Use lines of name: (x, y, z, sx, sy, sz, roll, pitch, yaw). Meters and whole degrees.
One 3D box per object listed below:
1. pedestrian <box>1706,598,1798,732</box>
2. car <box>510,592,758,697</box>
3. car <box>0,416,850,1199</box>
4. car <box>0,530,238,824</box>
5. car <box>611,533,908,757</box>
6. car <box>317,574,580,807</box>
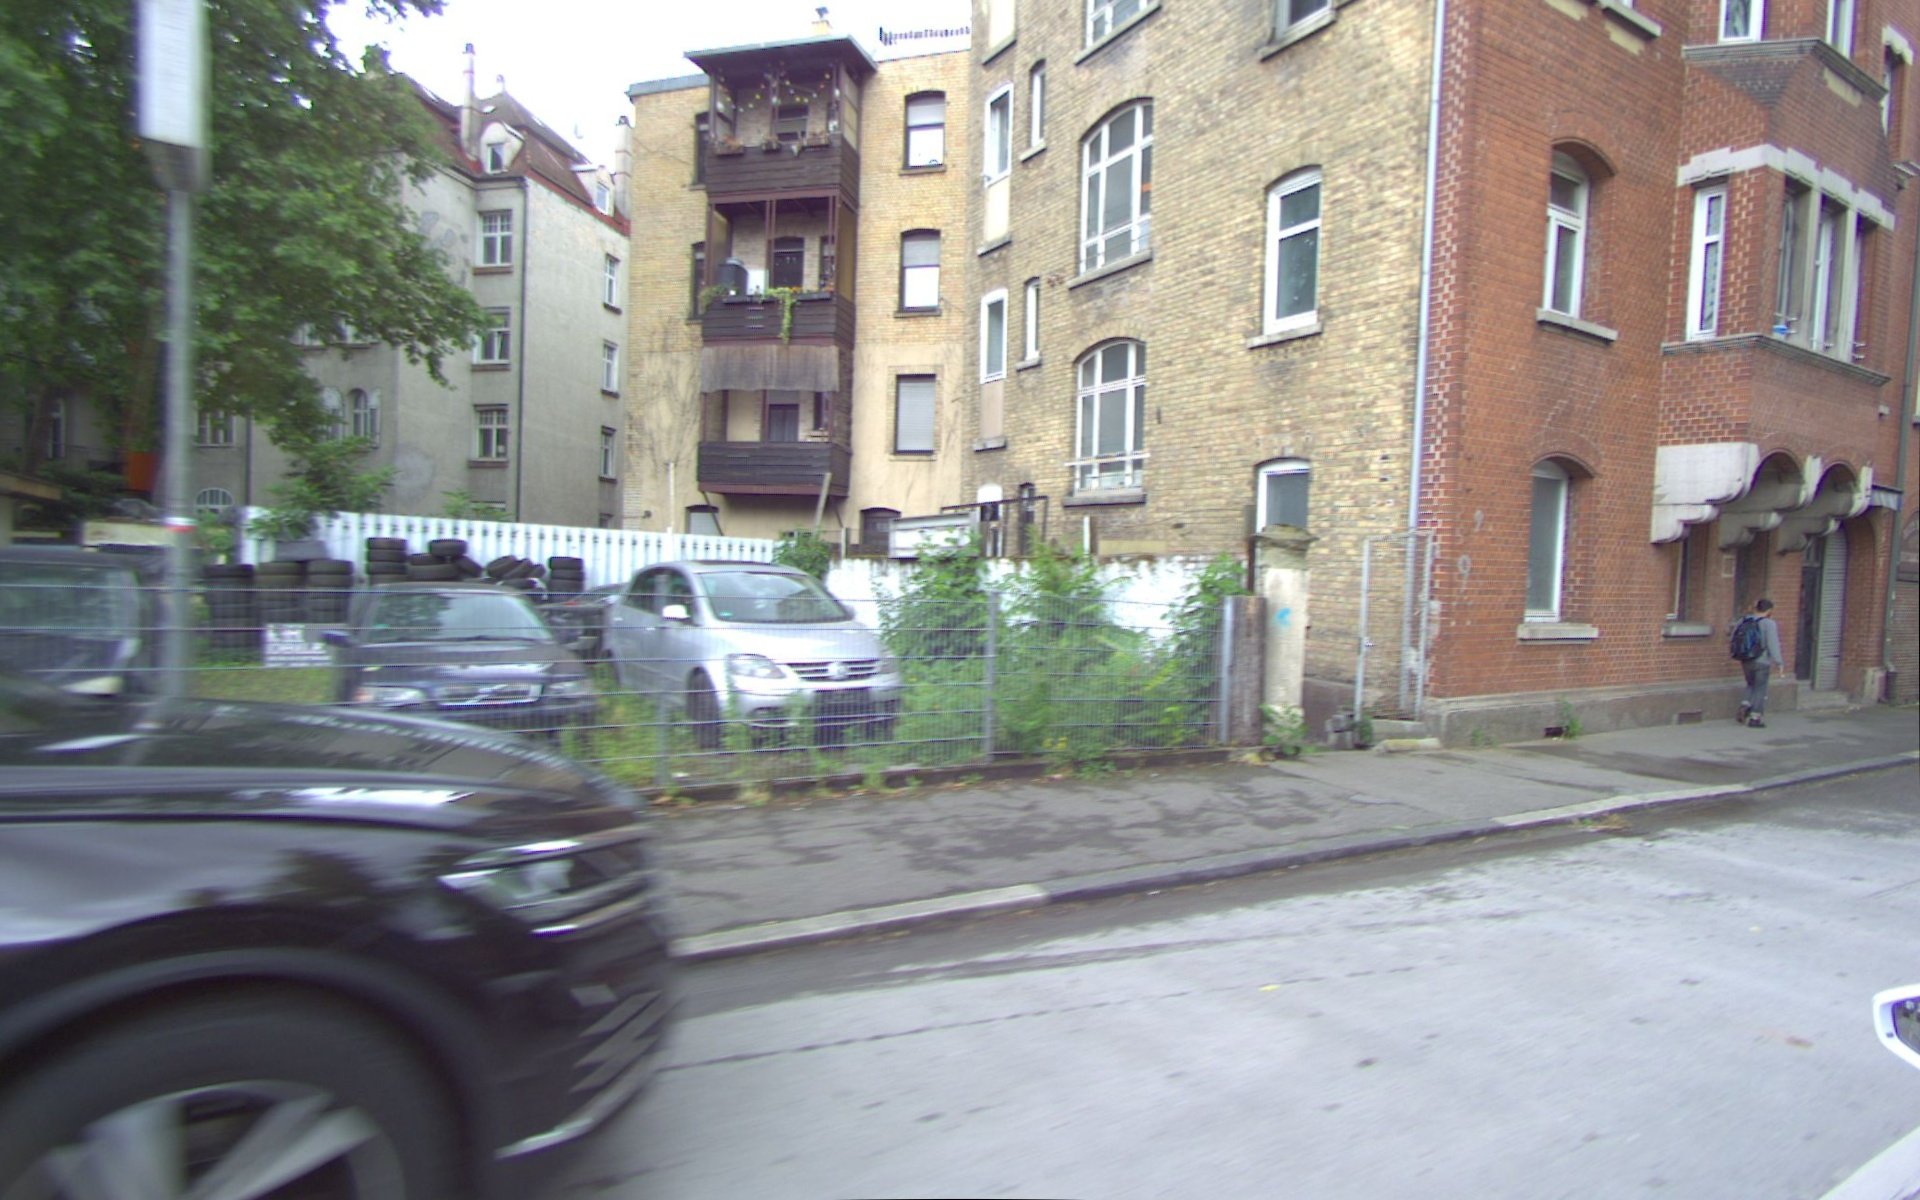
pedestrian: (10.221, 0.815, 12.977, 0.625, 1.631, 0.656, -1, 4, -30)
car: (-5.009, 0.600, 15.848, 1.647, 1.392, 3.501, 1, 2, 32)
car: (-2.749, 0.584, 1.751, 4.718, 1.757, 1.944, 0, 2, -31)
car: (-6.120, 0.387, 6.601, 1.831, 1.524, 3.579, 1, 0, -30)
car: (-2.027, 0.327, 9.299, 1.668, 1.633, 3.579, 1, 0, -29)
car: (-4.166, 0.556, 8.122, 1.528, 1.433, 3.579, 1, 0, -29)
